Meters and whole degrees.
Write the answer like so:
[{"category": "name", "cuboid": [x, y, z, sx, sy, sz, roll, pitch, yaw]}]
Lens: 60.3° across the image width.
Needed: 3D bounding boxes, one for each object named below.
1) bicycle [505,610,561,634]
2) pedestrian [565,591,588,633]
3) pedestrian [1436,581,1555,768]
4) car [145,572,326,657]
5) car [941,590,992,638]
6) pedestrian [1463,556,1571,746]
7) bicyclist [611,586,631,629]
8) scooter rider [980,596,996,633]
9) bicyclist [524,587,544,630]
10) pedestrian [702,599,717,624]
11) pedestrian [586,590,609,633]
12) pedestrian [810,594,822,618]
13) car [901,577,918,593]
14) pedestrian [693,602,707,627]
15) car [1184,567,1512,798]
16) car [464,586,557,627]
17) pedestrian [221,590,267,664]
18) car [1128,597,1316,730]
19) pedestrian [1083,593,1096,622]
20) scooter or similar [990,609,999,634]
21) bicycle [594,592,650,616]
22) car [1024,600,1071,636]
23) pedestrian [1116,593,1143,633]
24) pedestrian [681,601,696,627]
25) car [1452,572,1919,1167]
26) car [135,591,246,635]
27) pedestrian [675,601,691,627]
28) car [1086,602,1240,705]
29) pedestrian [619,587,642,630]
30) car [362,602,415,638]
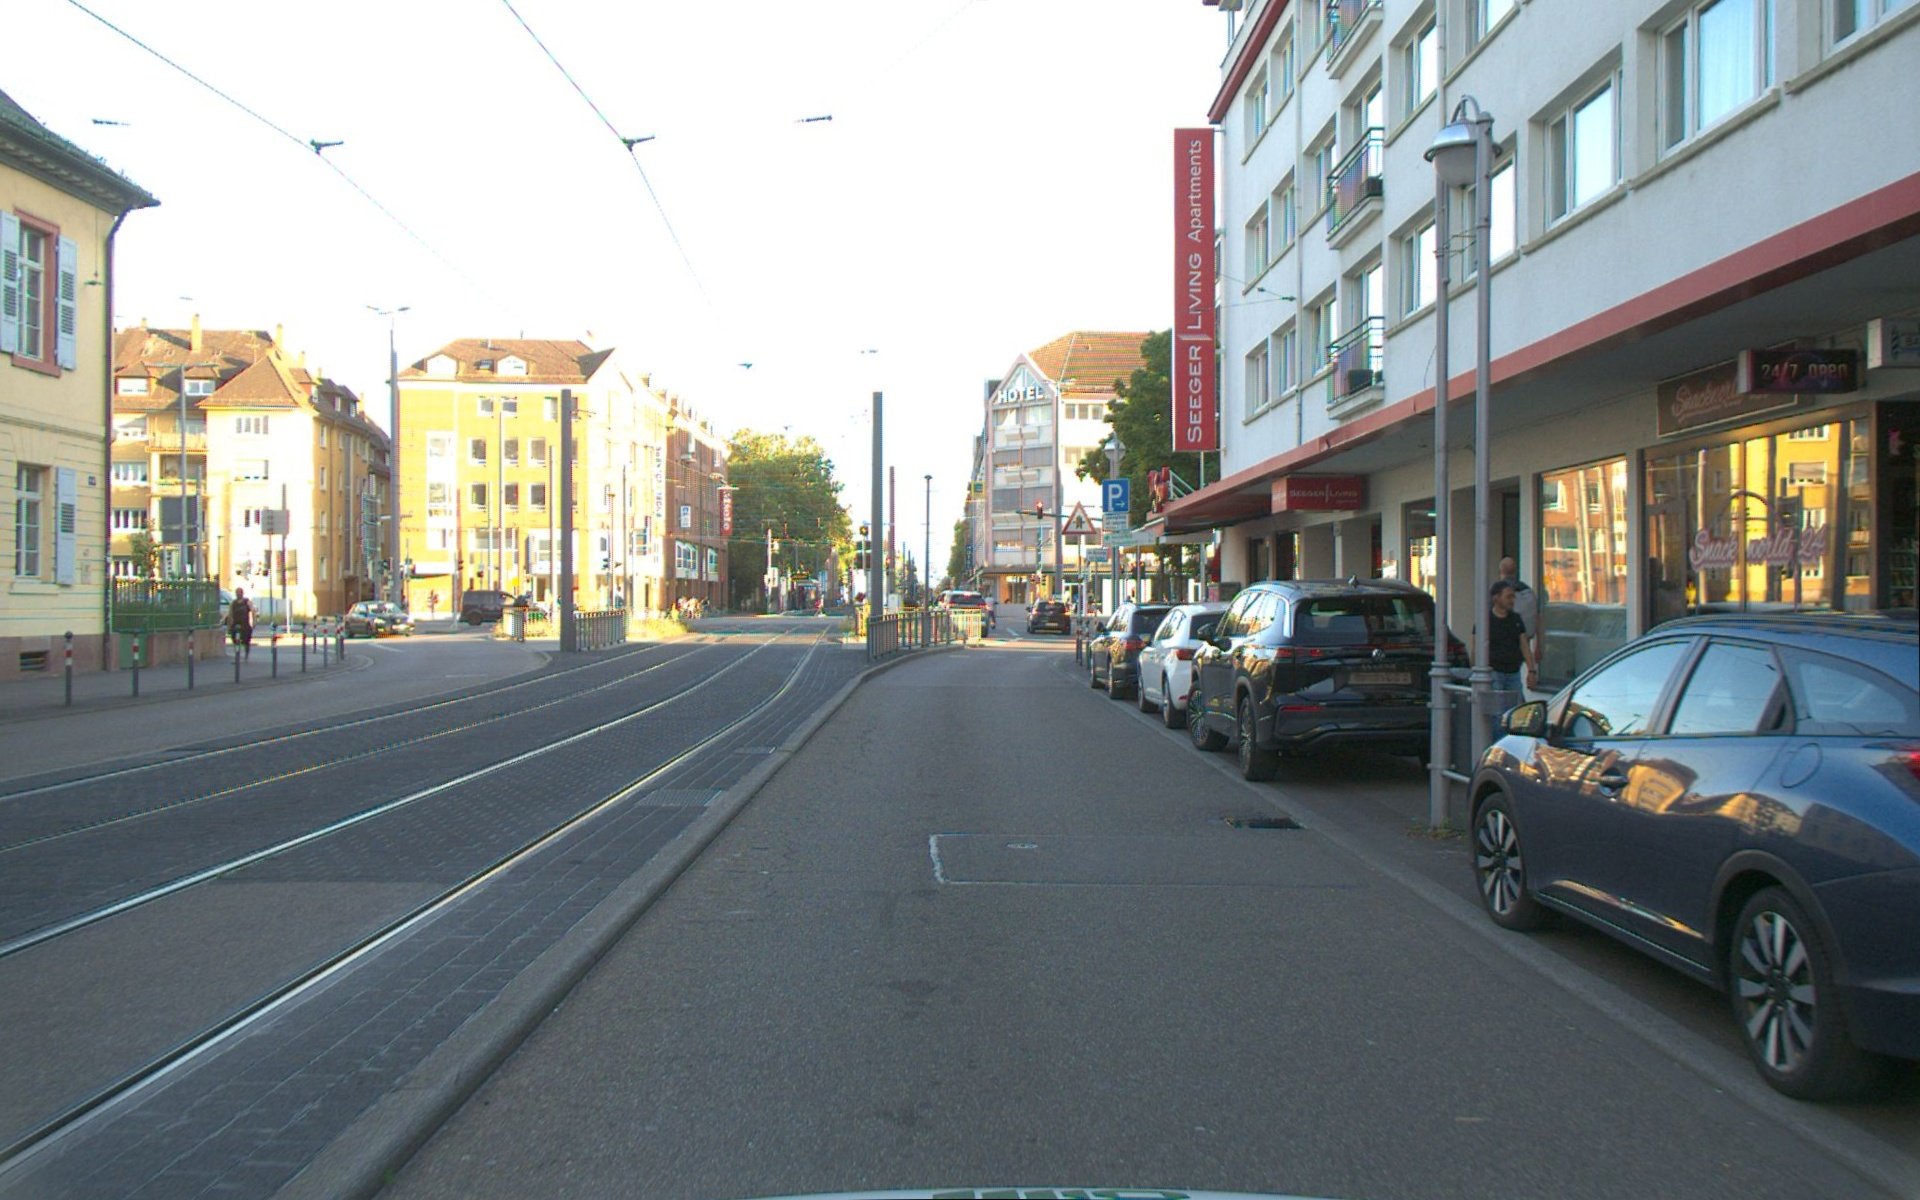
[{"category": "bicycle", "cuboid": [-20.720, 1.065, 80.245, 2.601, 1.119, 0.433, 2, -1, -21]}, {"category": "pedestrian", "cuboid": [-12.698, 0.394, 54.791, 0.650, 1.399, 0.651, 0, 0, -3]}, {"category": "pedestrian", "cuboid": [4.730, 0.634, 14.663, 0.718, 1.601, 0.966, 0, 0, -1]}, {"category": "car", "cuboid": [-18.143, 0.335, 41.629, 3.924, 2.049, 1.991, 0, 0, -17]}, {"category": "car", "cuboid": [0.254, 0.561, 62.407, 1.797, 1.665, 4.090, -1, -2, 0]}, {"category": "pedestrian", "cuboid": [5.795, 0.519, 17.243, 0.759, 1.913, 0.934, -1, -1, -3]}, {"category": "bicyclist", "cuboid": [-16.586, 0.359, 80.890, 0.848, 2.049, 0.642, 2, -1, -22]}, {"category": "scooter rider", "cuboid": [1.277, 0.649, 75.306, 0.648, 1.676, 0.661, 1, -1, 7]}, {"category": "bicyclist", "cuboid": [-20.688, 0.395, 80.296, 0.848, 2.049, 0.643, 2, -1, -20]}, {"category": "pedestrian", "cuboid": [-20.869, 0.932, 137.740, 1.071, 2.049, 1.162, 2, -1, -3]}, {"category": "pedestrian", "cuboid": [-12.006, 0.369, 54.837, 0.650, 1.399, 0.651, 0, 0, -4]}, {"category": "pedestrian", "cuboid": [-11.247, 0.468, 129.456, 0.789, 1.855, 0.703, 1, -1, 1]}, {"category": "car", "cuboid": [-6.605, -1.947, 216.996, 1.953, 1.934, 4.000, 2, -1, 0]}, {"category": "pedestrian", "cuboid": [-20.924, 1.173, 133.175, 0.957, 2.049, 0.908, 2, -1, -3]}, {"category": "car", "cuboid": [3.292, 0.653, 14.944, 1.818, 1.730, 4.417, 2, -1, -1]}, {"category": "car", "cuboid": [-22.862, 0.331, 84.212, 4.481, 2.072, 1.993, 0, 0, -13]}, {"category": "pedestrian", "cuboid": [-15.339, 0.580, 35.439, 0.705, 1.563, 0.718, 0, -1, -5]}, {"category": "car", "cuboid": [3.161, 0.735, 20.711, 1.617, 1.445, 4.190, 2, -1, -1]}, {"category": "pedestrian", "cuboid": [8.116, 0.461, 103.879, 0.731, 1.810, 0.800, 1, -1, 1]}, {"category": "scooter or similar", "cuboid": [1.562, 0.978, 75.334, 0.273, 1.110, 1.258, 1, -1, 6]}, {"category": "bicycle", "cuboid": [-16.523, 0.200, 80.876, 2.601, 1.119, 0.433, 2, -1, -21]}, {"category": "car", "cuboid": [3.706, 0.764, 70.449, 1.728, 1.465, 3.999, 0, 0, -1]}, {"category": "pedestrian", "cuboid": [7.498, 0.572, 73.178, 0.812, 1.714, 1.041, 2, -1, -22]}, {"category": "pedestrian", "cuboid": [-22.036, 1.152, 134.377, 1.071, 2.049, 0.908, 2, -1, -3]}, {"category": "car", "cuboid": [3.376, 0.720, 6.133, 1.745, 1.549, 4.356, 2, 0, -1]}, {"category": "car", "cuboid": [-37.555, 0.620, 80.830, 4.607, 2.049, 1.991, 0, 0, -16]}, {"category": "pedestrian", "cuboid": [-22.289, 1.128, 133.201, 1.071, 2.049, 0.908, 2, -1, -3]}, {"category": "car", "cuboid": [3.116, 0.794, 26.260, 1.753, 1.437, 4.686, 2, -1, -1]}, {"category": "pedestrian", "cuboid": [-10.920, 0.281, 54.860, 0.650, 1.399, 0.651, 0, 0, -3]}, {"category": "car", "cuboid": [-23.257, 0.809, 67.251, 1.743, 1.400, 4.191, 0, 0, -24]}]
